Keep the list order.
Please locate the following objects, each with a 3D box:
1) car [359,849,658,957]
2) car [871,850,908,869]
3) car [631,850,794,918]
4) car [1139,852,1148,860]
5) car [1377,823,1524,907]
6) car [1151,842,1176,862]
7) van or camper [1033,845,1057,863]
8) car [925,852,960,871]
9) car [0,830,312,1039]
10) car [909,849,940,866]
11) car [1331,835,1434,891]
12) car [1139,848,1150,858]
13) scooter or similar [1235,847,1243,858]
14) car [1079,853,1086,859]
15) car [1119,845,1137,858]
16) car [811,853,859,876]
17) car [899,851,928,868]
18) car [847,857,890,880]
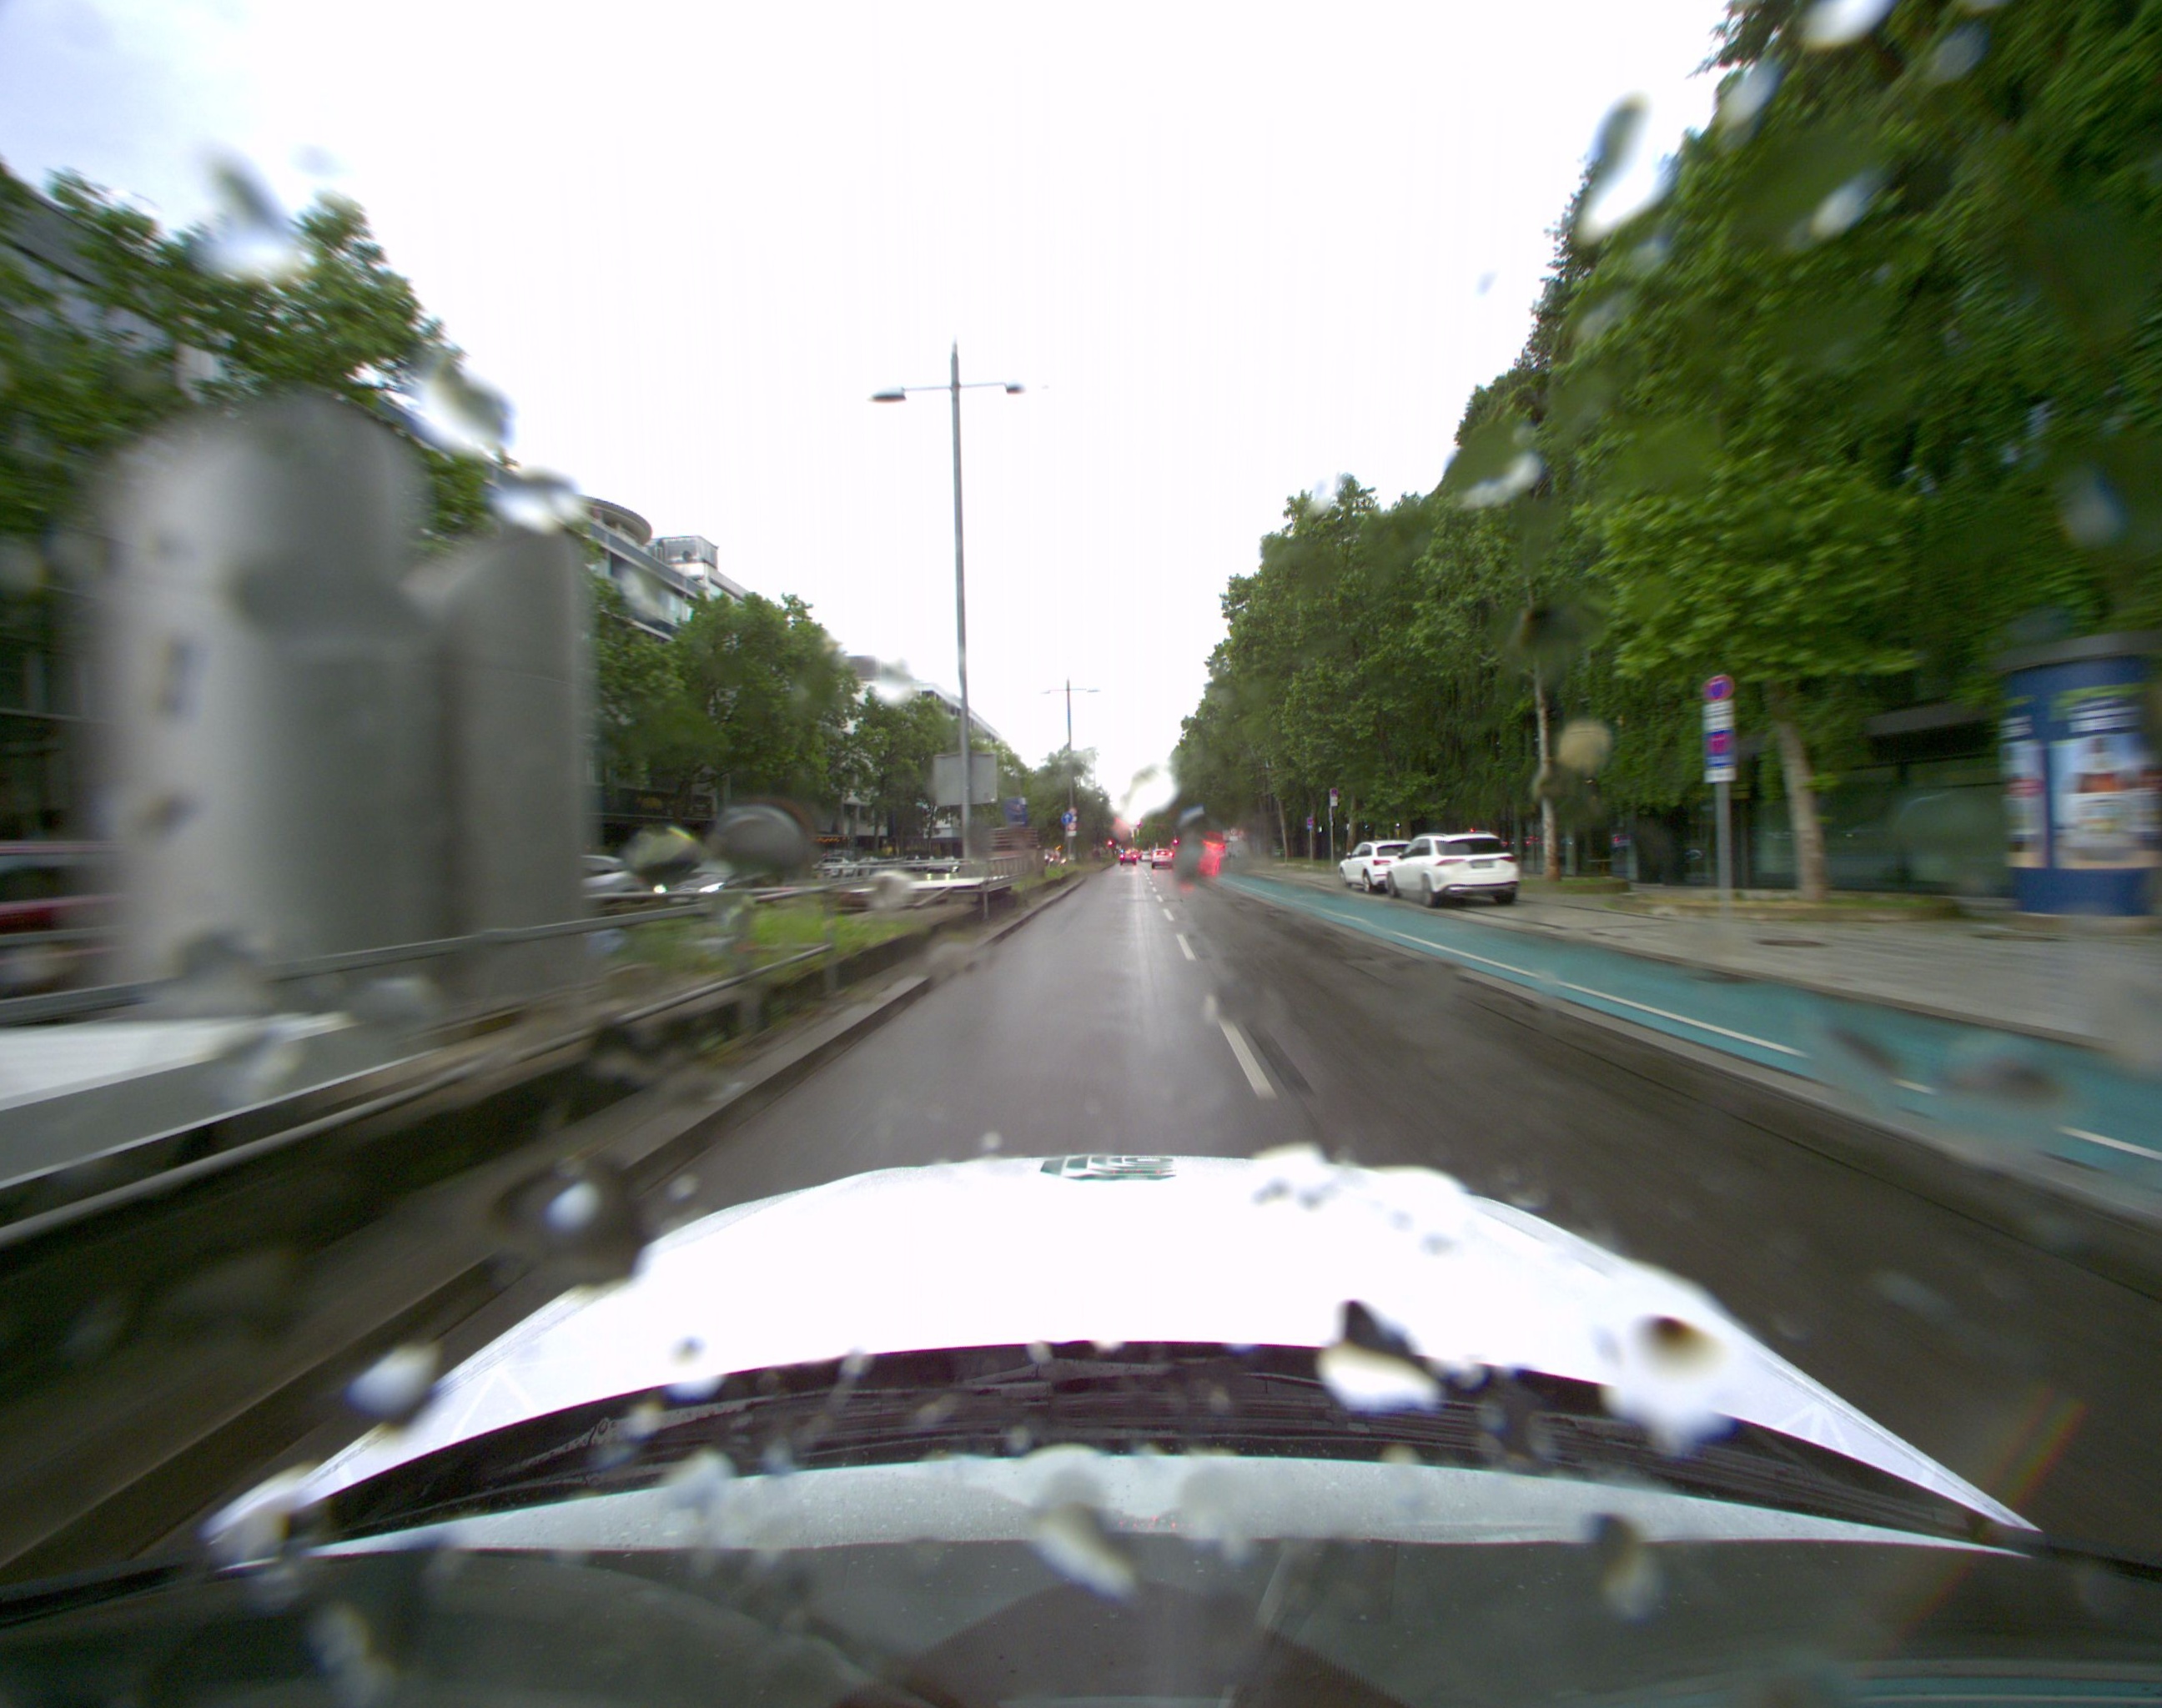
[{"bbox_3d":[-9.960,0.734,14.788,1.727,1.573,4.837,-1,1,4],"label":"car"},{"bbox_3d":[-15.430,0.383,65.777,1.686,1.409,4.460,-1,1,3],"label":"car"},{"bbox_3d":[-9.545,0.697,21.577,1.905,1.552,4.548,-1,1,5],"label":"car"},{"bbox_3d":[11.468,0.373,149.364,1.613,1.374,4.004,-1,0,3],"label":"car"},{"bbox_3d":[9.298,0.214,21.013,1.834,1.838,5.102,-2,1,5],"label":"car"},{"bbox_3d":[7.145,-0.192,71.010,1.985,1.655,4.893,-1,1,3],"label":"car"},{"bbox_3d":[-3.837,-0.031,88.019,1.985,1.913,5.256,-1,1,3],"label":"van or camper"},{"bbox_3d":[-11.292,0.579,66.728,1.960,1.409,4.957,-1,1,0],"label":"car"},{"bbox_3d":[-10.076,0.697,6.994,1.827,1.766,5.115,-1,1,4],"label":"car"},{"bbox_3d":[-14.729,0.302,76.897,1.686,1.409,4.909,-1,1,3],"label":"car"},{"bbox_3d":[9.822,0.236,26.916,1.836,1.632,4.791,-1,1,3],"label":"car"},{"bbox_3d":[10.672,-0.153,137.211,1.613,1.666,4.004,-2,0,3],"label":"car"},{"bbox_3d":[17.171,-0.171,88.668,0.377,1.228,1.086,-1,0,39],"label":"scooter or similar"},{"bbox_3d":[0.411,0.428,204.947,1.607,1.394,3.601,-1,1,3],"label":"car"},{"bbox_3d":[5.298,-0.303,92.166,1.910,1.491,4.004,-1,1,3],"label":"car"},{"bbox_3d":[-16.333,0.658,54.376,1.553,1.353,4.687,0,1,3],"label":"car"},{"bbox_3d":[-14.851,0.459,72.381,1.686,1.468,3.463,-1,1,3],"label":"car"},{"bbox_3d":[-15.297,1.045,58.897,1.829,1.508,4.004,-1,1,3],"label":"car"}]
